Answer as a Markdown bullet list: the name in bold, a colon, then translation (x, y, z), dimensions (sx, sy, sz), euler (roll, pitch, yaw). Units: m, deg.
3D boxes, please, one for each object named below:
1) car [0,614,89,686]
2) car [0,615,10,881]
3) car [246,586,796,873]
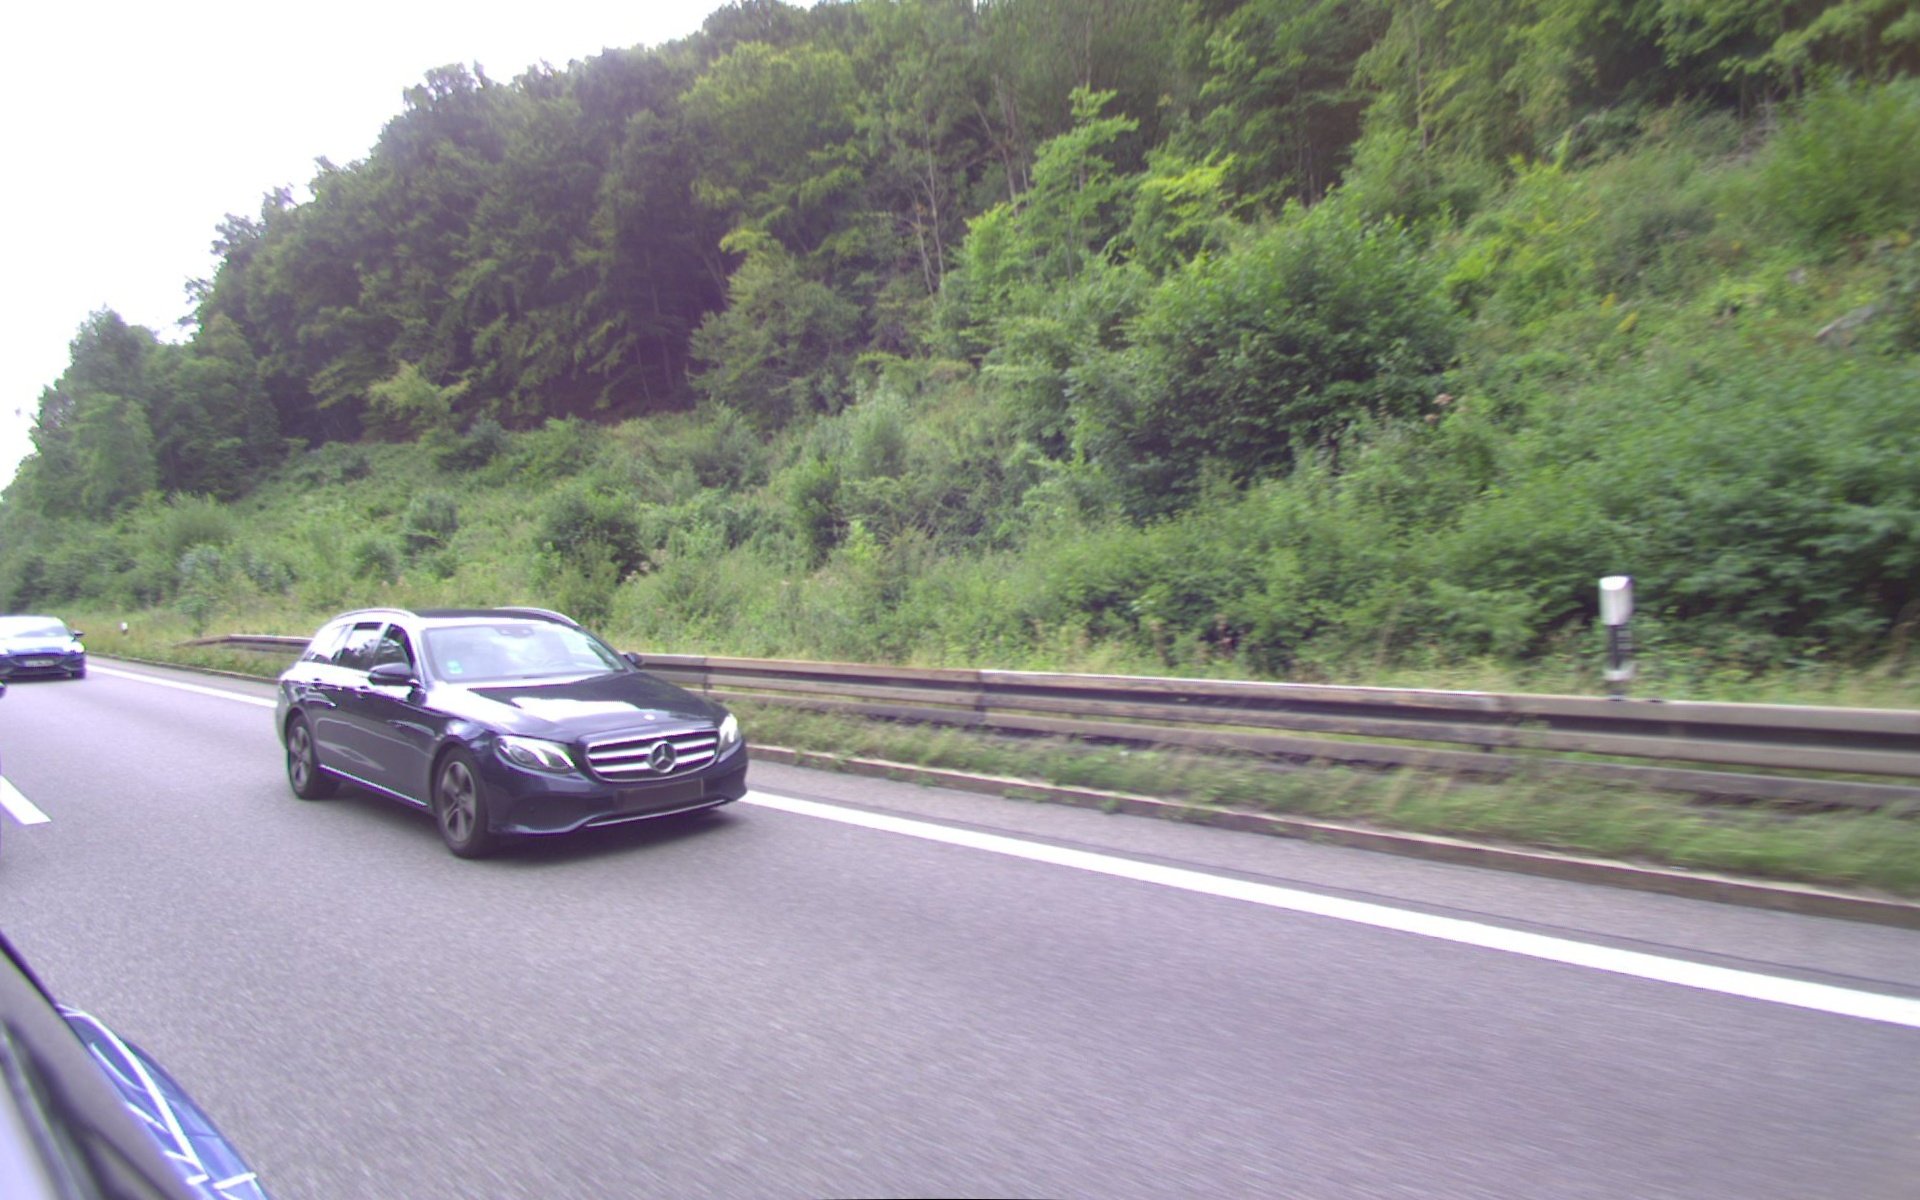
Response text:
- **car**: translation (-21.810, 1.106, 23.425), dimensions (4.552, 1.480, 1.817), euler (-1, 0, 40)
- **car**: translation (-7.351, 0.827, 6.269), dimensions (4.399, 1.428, 1.728), euler (-1, 0, 41)
- **car**: translation (-3.568, 0.720, 7.577), dimensions (5.120, 1.474, 1.742), euler (-2, 0, 41)
